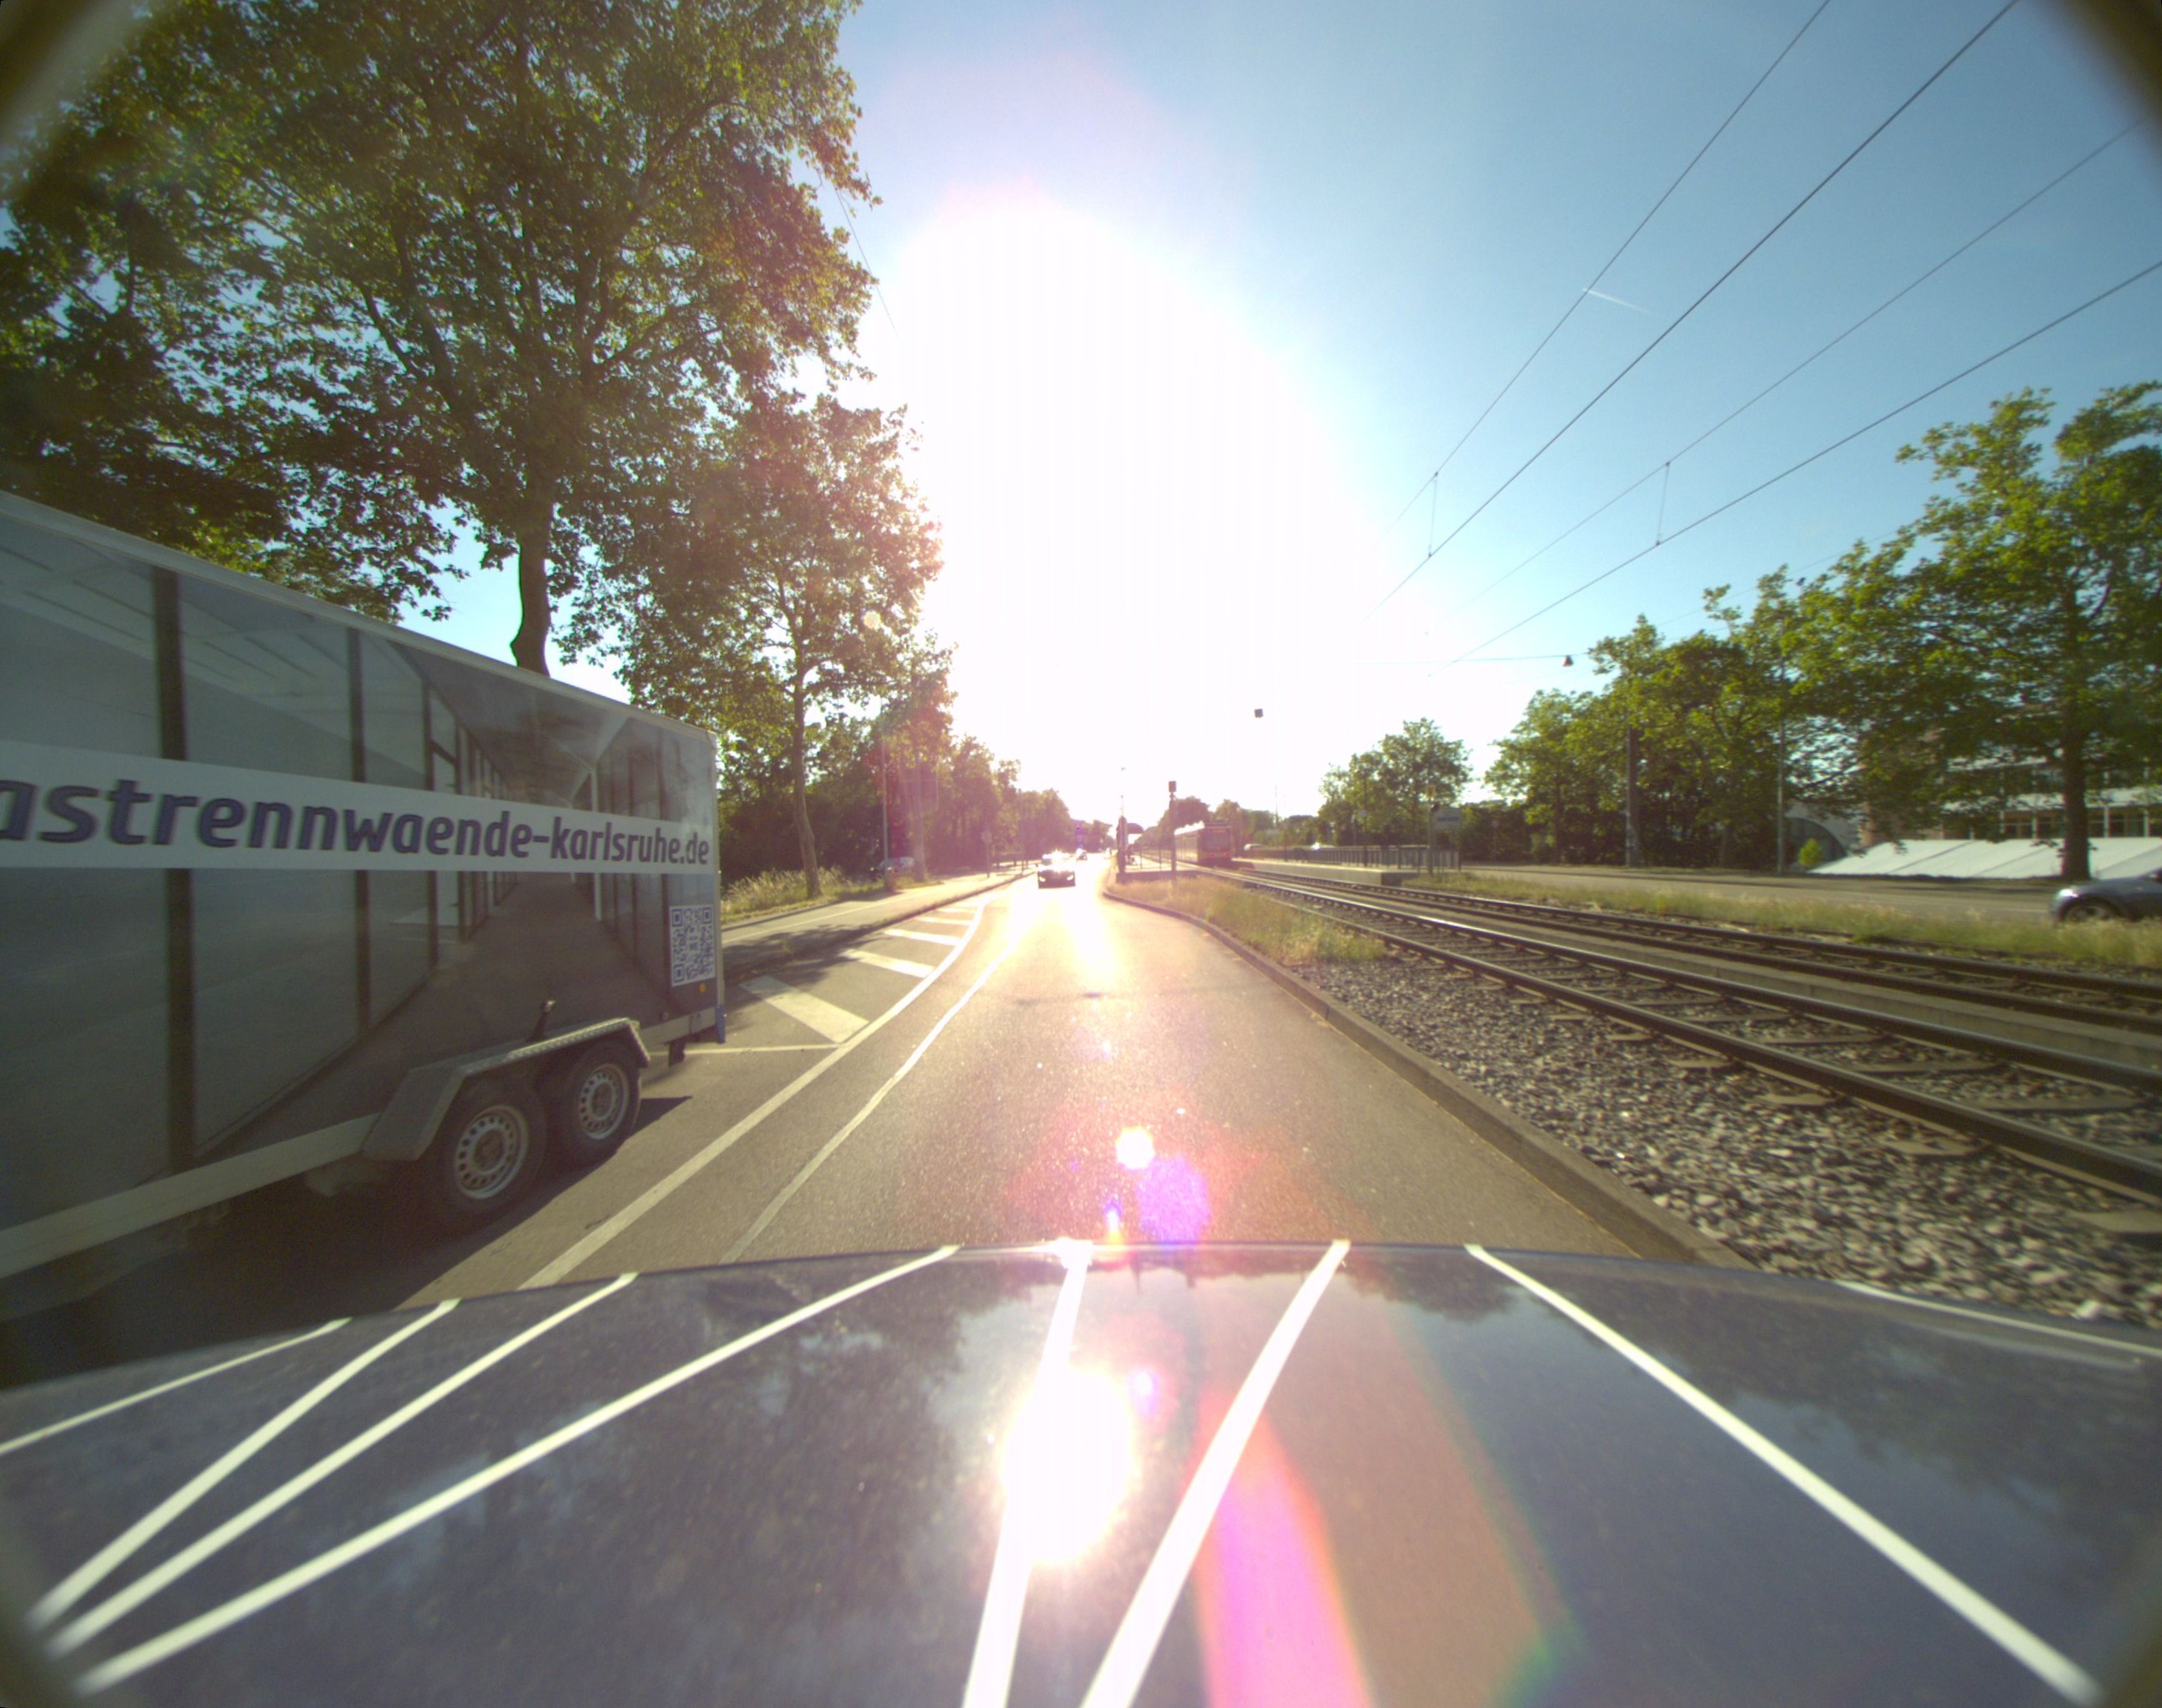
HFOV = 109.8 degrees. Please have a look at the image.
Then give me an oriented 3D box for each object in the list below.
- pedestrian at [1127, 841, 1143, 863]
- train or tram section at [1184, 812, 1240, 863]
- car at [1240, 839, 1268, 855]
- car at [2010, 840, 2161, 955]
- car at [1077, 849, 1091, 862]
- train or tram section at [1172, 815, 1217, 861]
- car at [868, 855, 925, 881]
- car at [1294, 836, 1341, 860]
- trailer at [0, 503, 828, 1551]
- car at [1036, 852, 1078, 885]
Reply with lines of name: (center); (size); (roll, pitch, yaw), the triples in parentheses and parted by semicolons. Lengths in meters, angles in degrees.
pedestrian: (3.779, -0.162, 53.157); (0.760, 1.485, 0.696); (-2, 2, 35)
train or tram section: (10.568, -1.327, 62.570); (2.834, 3.666, 12.969); (-3, 1, 3)
car: (18.066, -0.766, 79.429); (1.998, 1.552, 4.335); (-2, 1, 2)
car: (14.523, 0.551, 8.962); (1.777, 1.417, 4.489); (-1, 1, 3)
car: (0.472, 0.197, 104.251); (1.784, 1.586, 4.000); (-2, 1, 2)
train or tram section: (11.270, -1.573, 76.989); (2.834, 3.983, 15.875); (-3, 1, 3)
car: (-13.137, 0.969, 54.302); (1.821, 1.609, 4.006); (-2, 1, 25)
car: (16.560, -0.411, 53.441); (1.998, 1.552, 4.543); (-2, 1, 2)
trailer: (-3.733, 0.438, 4.022); (2.256, 2.679, 5.948); (-2, 1, 5)
car: (-1.098, 0.674, 36.553); (1.786, 1.529, 4.001); (0, 0, 2)
